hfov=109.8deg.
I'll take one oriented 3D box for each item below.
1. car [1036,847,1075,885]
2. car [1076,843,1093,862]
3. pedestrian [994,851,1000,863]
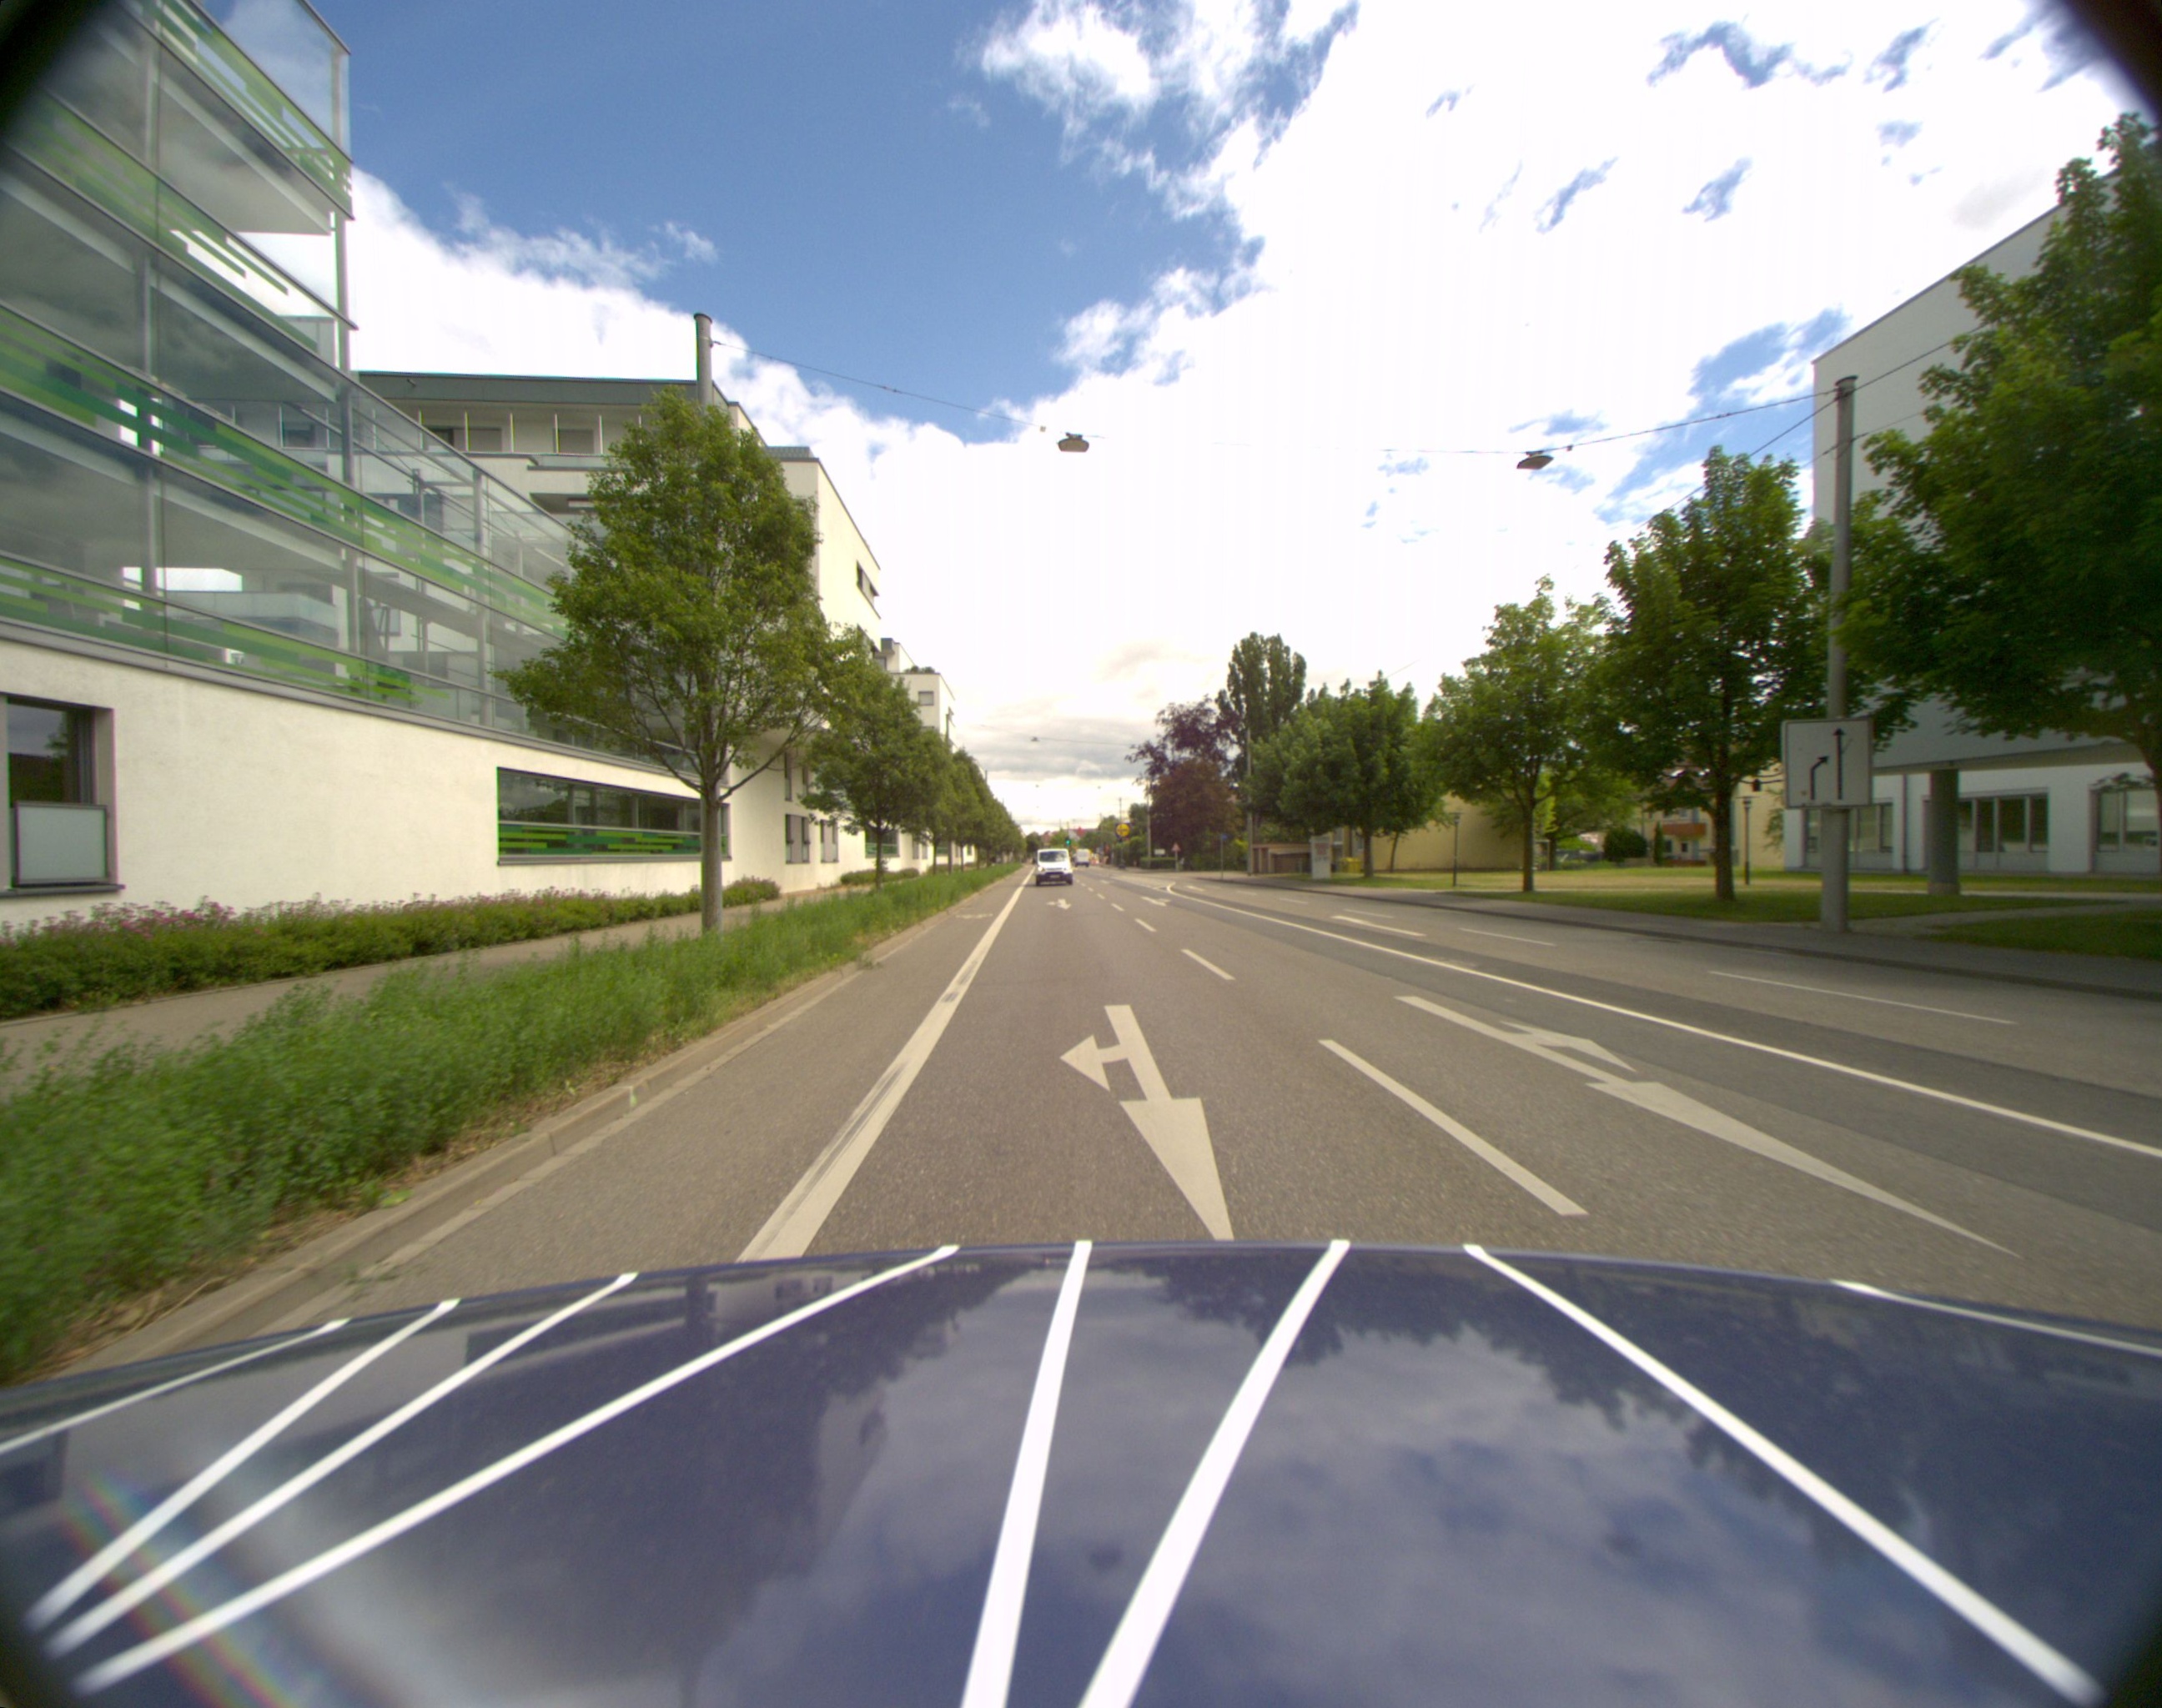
[{"bbox_3d":[-1.455,0.592,41.993,1.999,1.905,3.998,-2,1,-3],"label":"car"},{"bbox_3d":[0.451,-0.167,116.514,2.150,2.803,6.146,1,0,-4],"label":"car"},{"bbox_3d":[-13.484,0.413,122.137,0.742,1.875,0.701,-3,2,-6],"label":"pedestrian"}]
